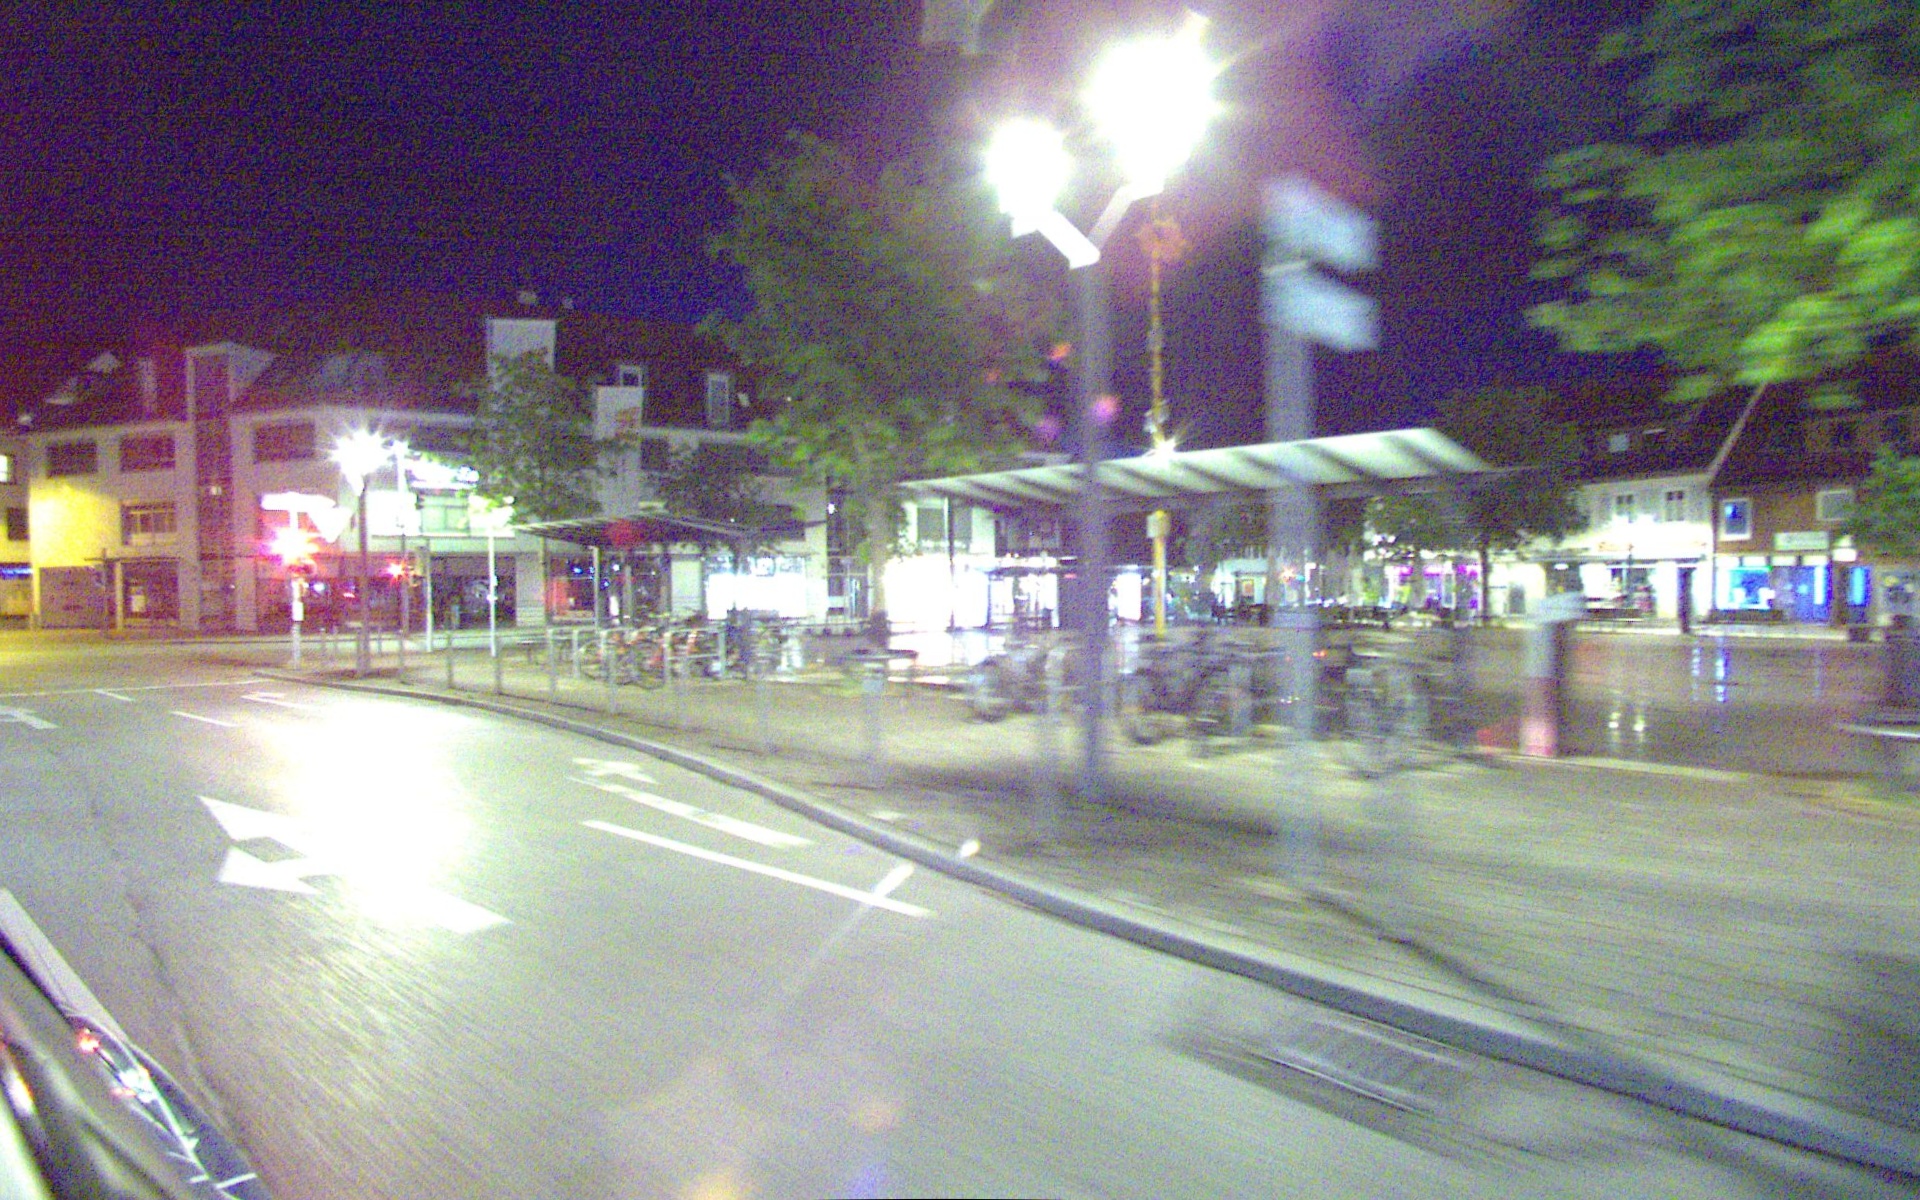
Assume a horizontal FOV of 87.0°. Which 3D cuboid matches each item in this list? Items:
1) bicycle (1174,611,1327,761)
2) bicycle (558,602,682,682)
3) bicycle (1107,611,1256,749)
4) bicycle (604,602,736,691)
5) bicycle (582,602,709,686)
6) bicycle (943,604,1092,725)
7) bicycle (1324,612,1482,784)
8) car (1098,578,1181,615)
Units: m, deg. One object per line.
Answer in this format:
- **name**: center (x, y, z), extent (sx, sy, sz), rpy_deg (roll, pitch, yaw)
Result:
- **bicycle**: center (2.528, 0.680, 8.695), extent (0.670, 1.114, 1.599), rpy_deg (0, 1, 40)
- **bicycle**: center (-5.778, 0.681, 17.265), extent (1.813, 1.166, 0.788), rpy_deg (-4, 4, -44)
- **bicycle**: center (2.071, 0.679, 9.320), extent (0.670, 1.114, 1.599), rpy_deg (1, 1, 40)
- **bicycle**: center (-4.400, 0.671, 15.417), extent (1.715, 1.175, 0.787), rpy_deg (-4, 2, -44)
- **bicycle**: center (-4.959, 0.662, 16.047), extent (1.715, 1.166, 0.788), rpy_deg (-4, 4, -44)
- **bicycle**: center (0.649, 0.636, 10.837), extent (0.670, 1.173, 1.751), rpy_deg (0, 0, 40)
- **bicycle**: center (3.411, 0.680, 7.719), extent (0.670, 1.114, 1.599), rpy_deg (1, 2, 40)
- **car**: center (9.881, -0.205, 55.758), extent (4.344, 1.951, 1.965), rpy_deg (-1, -1, -35)
